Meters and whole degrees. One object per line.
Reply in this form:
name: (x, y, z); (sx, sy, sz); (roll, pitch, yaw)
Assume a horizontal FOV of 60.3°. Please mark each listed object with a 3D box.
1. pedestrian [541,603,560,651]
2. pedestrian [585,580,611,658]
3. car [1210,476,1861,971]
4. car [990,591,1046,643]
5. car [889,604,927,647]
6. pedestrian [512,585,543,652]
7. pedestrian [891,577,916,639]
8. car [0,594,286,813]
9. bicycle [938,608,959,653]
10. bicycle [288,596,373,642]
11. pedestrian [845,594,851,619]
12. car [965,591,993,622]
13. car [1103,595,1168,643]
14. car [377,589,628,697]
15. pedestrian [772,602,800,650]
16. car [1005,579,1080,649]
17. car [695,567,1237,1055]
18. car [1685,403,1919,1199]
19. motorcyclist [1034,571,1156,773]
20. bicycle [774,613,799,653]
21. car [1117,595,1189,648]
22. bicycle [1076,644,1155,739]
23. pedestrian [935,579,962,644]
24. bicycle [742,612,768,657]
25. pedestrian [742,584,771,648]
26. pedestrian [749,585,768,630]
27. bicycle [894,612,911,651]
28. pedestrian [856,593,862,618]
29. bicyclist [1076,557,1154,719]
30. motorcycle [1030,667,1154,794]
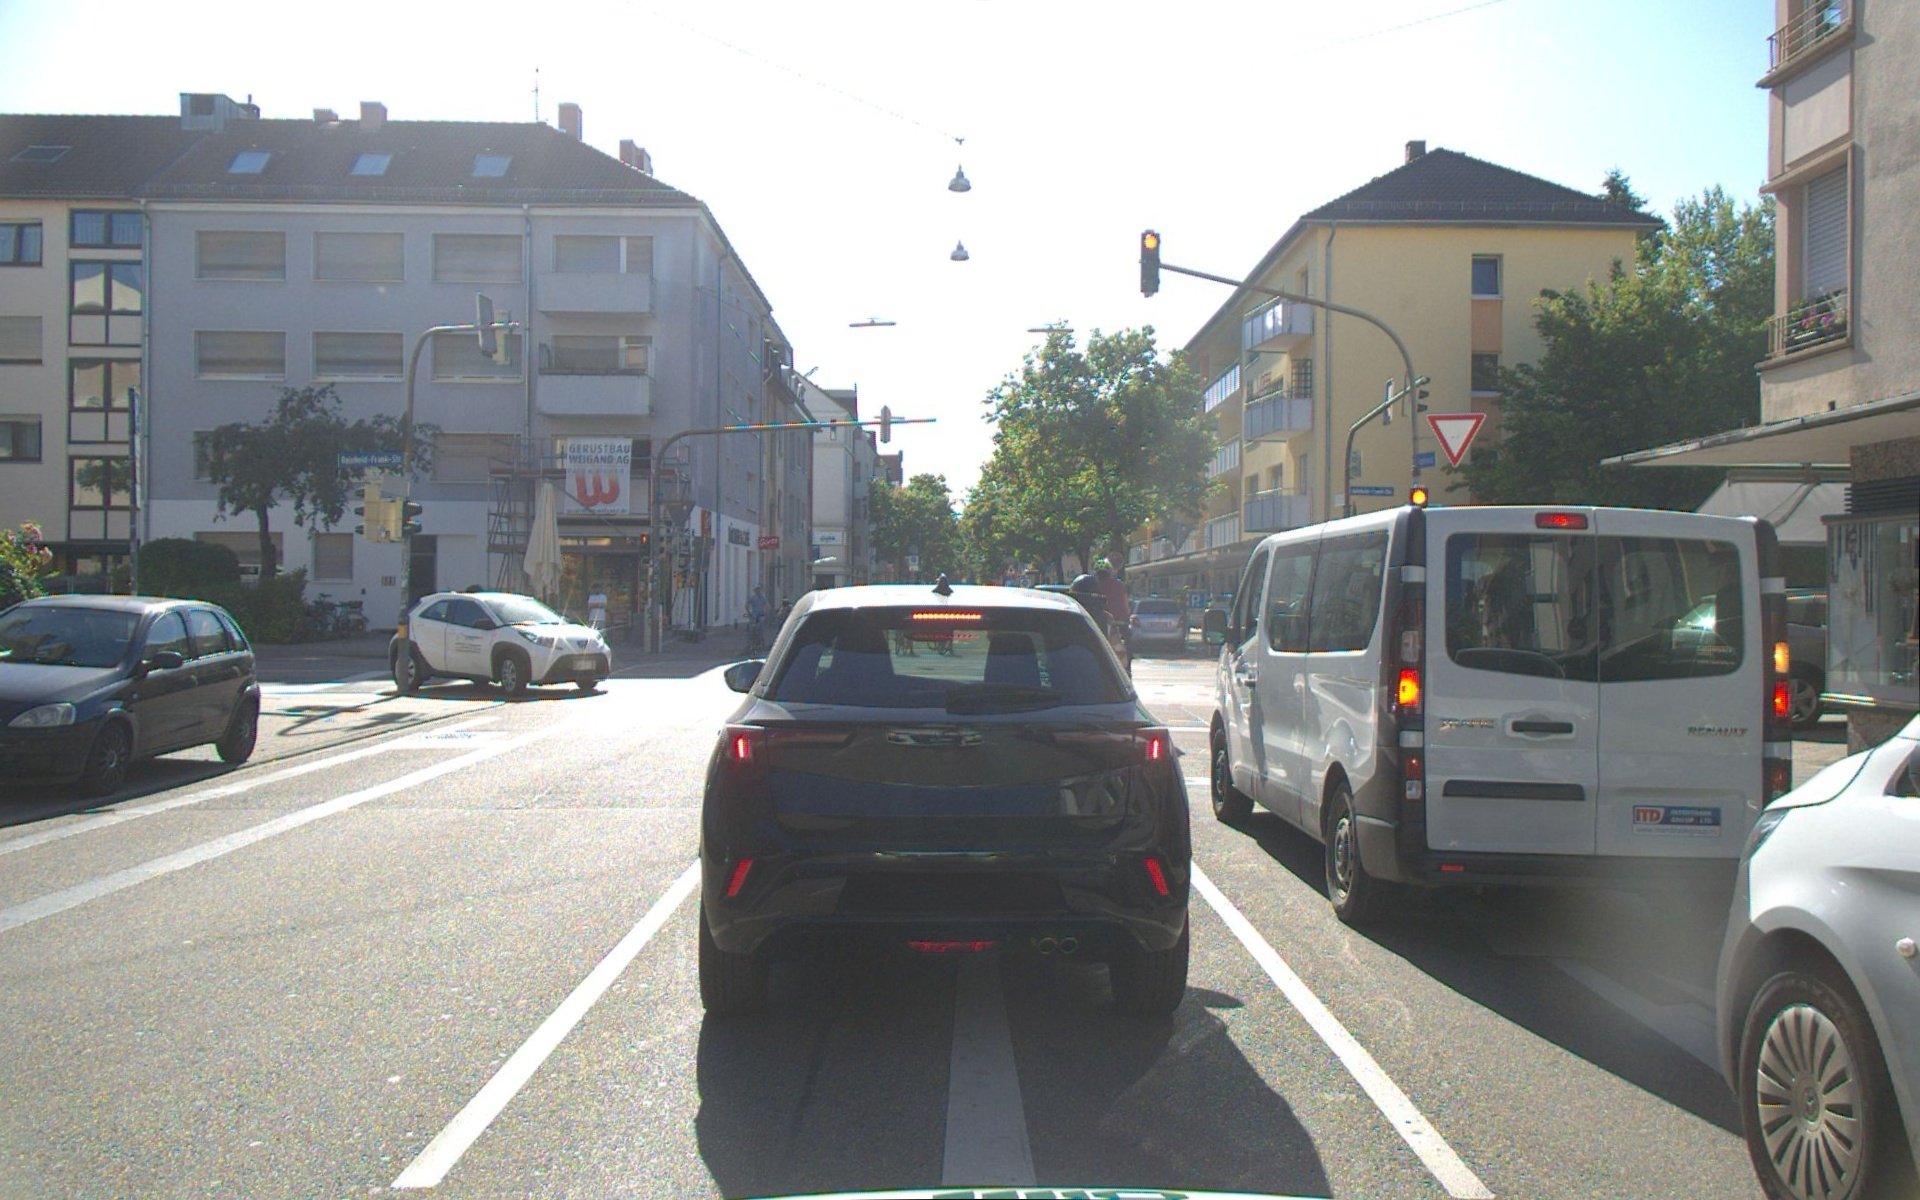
pedestrian: (-9.503, 0.618, 38.358); (0.348, 1.111, 0.461); (0, 0, -3)
pedestrian: (-8.522, 0.442, 38.922); (0.550, 1.806, 0.583); (1, 0, -9)
car: (2.775, 0.504, 9.356); (1.953, 2.014, 4.895); (2, 0, 0)
car: (2.011, 0.566, 58.388); (1.863, 1.758, 4.000); (0, 0, 0)
car: (-2.521, 1.218, 81.331); (1.811, 2.049, 3.999); (0, 0, -1)
pedestrian: (-10.012, 0.423, 38.305); (0.573, 1.547, 0.649); (0, 0, -4)
pedestrian: (-1.513, 0.211, 44.484); (0.666, 1.634, 0.762); (0, 0, -2)
car: (-7.014, 0.714, 13.381); (1.584, 1.450, 3.709); (3, 0, -1)
bicycle: (-0.319, 0.807, 44.653); (0.511, 1.167, 2.169); (0, 0, -2)
bicycle: (-16.510, 0.484, 43.399); (2.067, 1.193, 0.735); (0, 0, -24)
pedestrian: (-7.735, 0.425, 113.865); (0.393, 1.704, 0.417); (0, 0, -1)
car: (1.263, 0.429, 112.705); (1.817, 2.049, 3.880); (0, 0, -1)
car: (5.577, 0.570, 52.944); (1.601, 1.458, 4.000); (0, 0, -1)
car: (-7.268, 0.631, 26.232); (3.703, 1.563, 1.768); (0, 1, 30)
pedestrian: (-4.677, 0.705, 44.505); (0.692, 1.275, 0.802); (0, 0, -2)
car: (2.113, 0.336, 43.194); (1.862, 1.758, 4.074); (0, 0, 2)
car: (-0.051, 0.666, 7.314); (1.735, 1.557, 3.998); (0, 0, -2)
car: (2.961, 0.547, 2.087); (1.799, 1.901, 4.995); (0, 0, -1)
motorcyclist: (1.052, 0.544, 13.145); (0.846, 1.528, 1.159); (0, 0, -2)
bicycle: (-4.687, 0.880, 44.786); (0.511, 1.010, 2.338); (0, 0, -2)
car: (5.575, 0.604, 48.181); (1.601, 1.458, 3.956); (0, 0, 0)
bicycle: (1.699, 0.982, 18.364); (0.565, 0.920, 2.300); (0, 0, -2)
pedestrian: (-0.316, 0.309, 44.564); (0.692, 1.731, 0.802); (0, 0, -2)
bicycle: (-5.543, 0.916, 44.751); (0.511, 1.167, 2.282); (0, 0, -2)
pedestrian: (-5.479, 0.416, 44.553); (0.692, 1.707, 0.802); (0, 0, -2)
pedestrian: (-6.979, 0.252, 57.196); (0.605, 1.547, 0.724); (0, 0, -3)
bicycle: (-1.551, 0.834, 44.585); (0.434, 1.010, 2.068); (0, 0, -2)
pedestrian: (-6.917, 0.361, 113.524); (0.393, 1.704, 0.417); (0, 0, -1)
bicyclist: (1.710, 0.405, 18.424); (0.675, 1.742, 1.413); (0, 0, -2)
motorcycle: (1.025, 1.009, 13.250); (0.808, 0.860, 1.884); (0, 0, -1)
